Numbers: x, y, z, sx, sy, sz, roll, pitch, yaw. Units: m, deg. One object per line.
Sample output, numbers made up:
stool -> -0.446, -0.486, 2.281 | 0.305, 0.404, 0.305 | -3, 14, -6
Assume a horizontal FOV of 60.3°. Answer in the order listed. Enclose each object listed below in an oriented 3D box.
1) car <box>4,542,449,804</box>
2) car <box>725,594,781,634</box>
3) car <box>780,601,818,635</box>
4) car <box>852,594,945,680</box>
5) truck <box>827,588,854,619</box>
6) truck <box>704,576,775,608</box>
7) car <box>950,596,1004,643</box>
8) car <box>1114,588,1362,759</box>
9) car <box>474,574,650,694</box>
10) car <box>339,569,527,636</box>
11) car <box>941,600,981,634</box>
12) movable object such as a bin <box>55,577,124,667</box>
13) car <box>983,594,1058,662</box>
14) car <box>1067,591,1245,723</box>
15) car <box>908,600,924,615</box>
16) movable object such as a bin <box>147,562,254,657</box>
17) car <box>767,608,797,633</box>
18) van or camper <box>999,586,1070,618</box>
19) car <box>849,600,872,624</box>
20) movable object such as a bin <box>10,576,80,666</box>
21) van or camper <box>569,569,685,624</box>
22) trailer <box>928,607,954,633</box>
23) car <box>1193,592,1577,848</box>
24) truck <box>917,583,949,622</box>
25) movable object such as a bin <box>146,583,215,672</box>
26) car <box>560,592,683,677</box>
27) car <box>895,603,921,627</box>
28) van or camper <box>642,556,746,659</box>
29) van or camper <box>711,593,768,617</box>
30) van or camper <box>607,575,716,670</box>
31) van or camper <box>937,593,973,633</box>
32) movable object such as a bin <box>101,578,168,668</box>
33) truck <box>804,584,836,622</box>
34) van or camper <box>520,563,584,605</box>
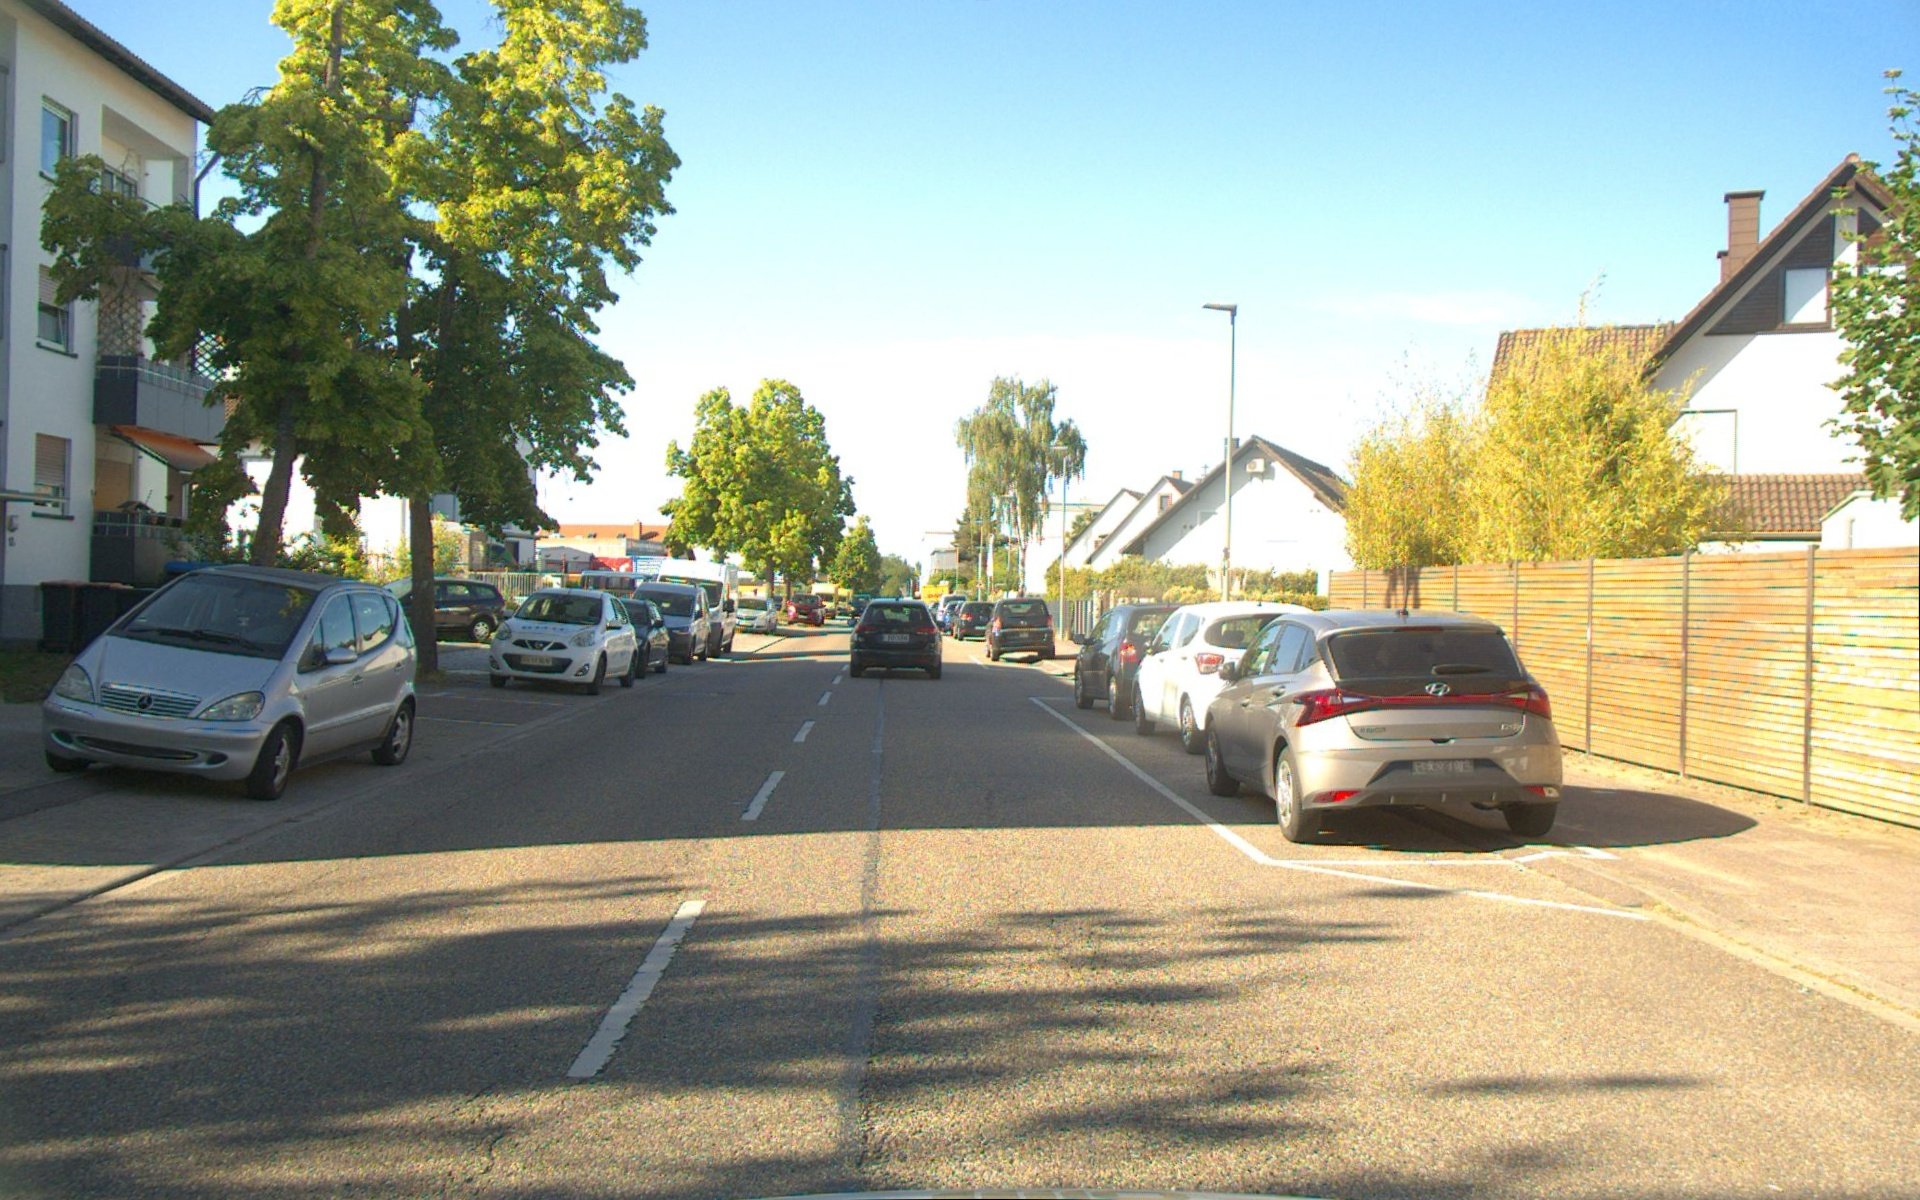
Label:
car -> -5.676, 0.523, 13.399 | 1.688, 1.620, 3.908 | 7, -1, 0
car -> -8.334, 0.559, 66.828 | 1.653, 1.460, 4.208 | 4, 0, 0
car -> -9.125, 1.018, 93.828 | 1.767, 1.783, 4.339 | 3, -1, -2
car -> -1.172, 0.691, 32.284 | 1.677, 1.559, 3.686 | 1, 0, -1
truck -> -12.393, 0.410, 171.537 | 2.355, 3.035, 6.370 | 3, -1, -2
truck -> -19.691, -0.704, 148.019 | 5.796, 2.612, 2.225 | 3, 0, 9
car -> 0.637, 0.731, 64.061 | 1.741, 1.688, 3.813 | 2, 0, -4
car -> 2.918, 0.728, 18.140 | 1.691, 1.629, 3.811 | 2, 0, -6
car -> -6.099, 0.495, 25.765 | 1.658, 1.593, 3.906 | 5, 0, 0
car -> -13.213, 0.095, 41.698 | 1.583, 1.540, 4.369 | 2, -1, 37
car -> 0.028, 0.806, 78.033 | 1.684, 1.531, 3.562 | 2, -1, -2
movable object such as a bin -> -12.940, 0.320, 24.591 | 0.625, 1.301, 0.671 | 1, 0, 0
car -> 1.586, 0.731, 44.731 | 1.740, 1.688, 4.302 | 2, 0, -1
car -> 2.620, 0.728, 22.946 | 1.625, 1.629, 3.811 | 2, 0, -6
car -> -5.611, 0.951, 210.372 | 1.880, 1.857, 4.077 | 2, -1, -2
movable object such as a bin -> -12.544, 0.150, 27.355 | 1.206, 1.508, 1.116 | 1, 0, 0
car -> -12.636, 1.457, 117.546 | 1.824, 1.618, 4.273 | 2, -2, -3
van or camper -> 6.456, 0.179, 142.713 | 5.750, 2.586, 2.268 | 2, -1, -29
car -> -8.443, 1.037, 141.140 | 1.856, 2.067, 4.815 | 0, -1, -2
movable object such as a bin -> -13.599, 0.313, 24.594 | 0.625, 1.301, 0.671 | 1, 0, 0
van or camper -> -15.629, -0.155, 77.827 | 4.788, 2.361, 2.245 | 2, -1, 10
trailer -> -1.213, 1.282, 106.300 | 1.594, 1.565, 3.197 | 2, 0, -1
car -> 2.845, 0.732, 11.925 | 1.609, 1.520, 3.887 | 1, 0, -3
truck -> -2.161, 0.235, 130.302 | 2.354, 2.988, 7.012 | -1, -1, -2
movable object such as a bin -> -11.604, 0.405, 24.630 | 0.673, 1.301, 0.671 | 1, 0, 0
car -> -6.537, 0.629, 32.327 | 1.577, 1.460, 4.311 | 4, 0, -2
car -> -3.717, 1.081, 119.367 | 1.782, 1.699, 3.642 | 1, -1, -1
van or camper -> -7.257, 0.194, 45.683 | 2.081, 2.533, 5.552 | 4, 0, -3
van or camper -> -19.239, 0.450, 144.483 | 4.448, 2.049, 2.252 | 1, -1, 4
van or camper -> -6.978, 0.505, 39.041 | 1.840, 2.049, 4.277 | 2, 0, -2
van or camper -> -0.278, 0.658, 84.267 | 1.684, 1.924, 4.178 | 2, -1, -2
movable object such as a bin -> -12.280, 0.338, 24.614 | 0.625, 1.301, 0.671 | 1, 0, 0
truck -> -11.828, 0.274, 140.196 | 2.355, 3.035, 7.240 | 3, -1, -3
van or camper -> -28.604, -1.055, 116.255 | 2.119, 2.763, 6.274 | 2, -1, 8
